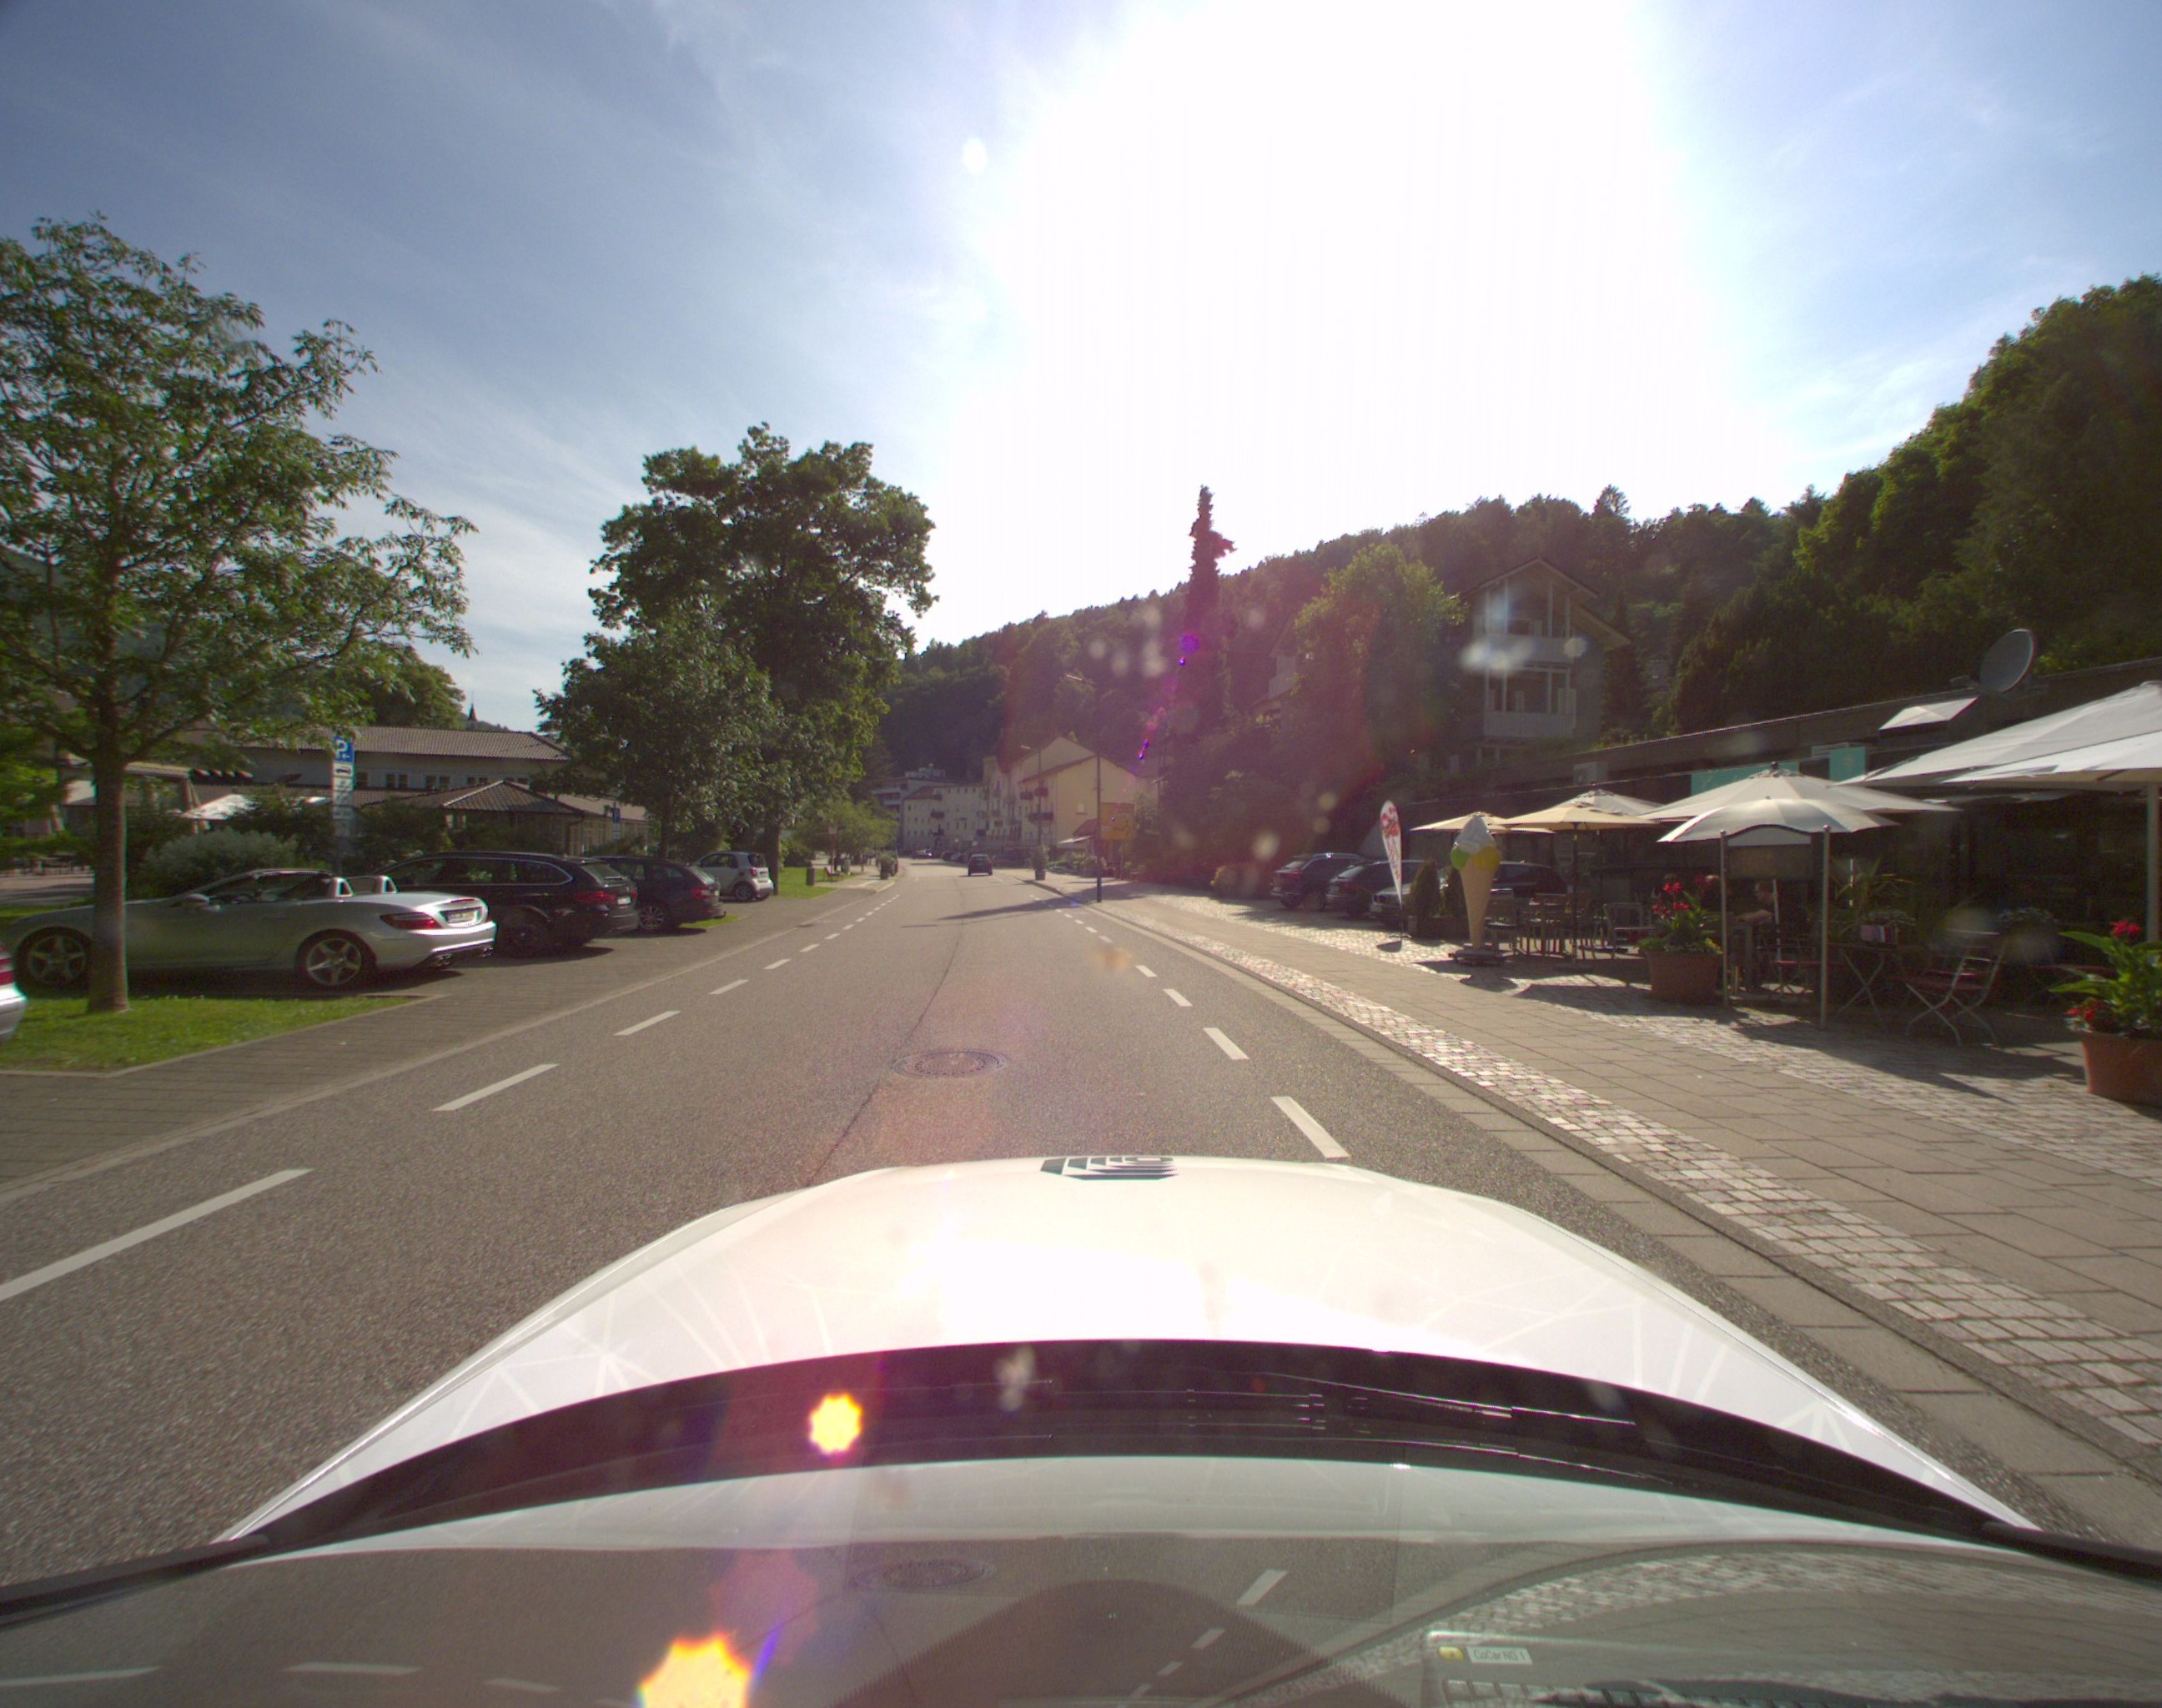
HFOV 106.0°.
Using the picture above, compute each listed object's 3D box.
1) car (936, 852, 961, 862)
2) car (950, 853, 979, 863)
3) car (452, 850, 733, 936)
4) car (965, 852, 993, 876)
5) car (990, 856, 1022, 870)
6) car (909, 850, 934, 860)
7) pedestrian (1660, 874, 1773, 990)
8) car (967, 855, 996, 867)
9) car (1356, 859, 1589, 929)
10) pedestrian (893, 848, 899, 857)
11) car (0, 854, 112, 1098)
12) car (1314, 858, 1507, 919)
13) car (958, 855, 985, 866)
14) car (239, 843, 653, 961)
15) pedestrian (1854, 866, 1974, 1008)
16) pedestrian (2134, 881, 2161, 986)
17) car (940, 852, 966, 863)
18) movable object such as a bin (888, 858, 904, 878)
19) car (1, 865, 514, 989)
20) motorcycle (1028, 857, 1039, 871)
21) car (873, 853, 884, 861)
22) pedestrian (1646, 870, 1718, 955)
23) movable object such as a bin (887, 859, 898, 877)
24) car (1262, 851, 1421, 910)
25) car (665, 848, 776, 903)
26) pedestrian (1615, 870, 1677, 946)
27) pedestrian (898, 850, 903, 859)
[{"bbox_3d":[-23.746,0.550,145.677,4.043,1.516,1.752,-2,3,-39],"label":"car"},{"bbox_3d":[-19.136,0.681,133.874,4.365,1.461,1.763,3,-2,-16],"label":"car"},{"bbox_3d":[-9.233,0.740,15.793,4.281,1.432,1.705,3,-1,-14],"label":"car"},{"bbox_3d":[-7.609,0.710,60.437,1.728,1.574,3.738,2,1,-12],"label":"car"},{"bbox_3d":[-10.063,1.194,109.661,3.873,1.555,1.748,4,-1,-21],"label":"car"},{"bbox_3d":[-28.550,0.167,145.974,4.011,1.662,1.981,-1,1,-29],"label":"car"},{"bbox_3d":[7.362,0.875,9.459,0.811,1.261,0.696,0,0,-17],"label":"pedestrian"},{"bbox_3d":[-14.952,1.064,122.616,3.920,1.589,1.764,4,0,-19],"label":"car"},{"bbox_3d":[8.259,0.808,17.347,4.258,1.379,1.705,0,-1,-7],"label":"car"},{"bbox_3d":[-36.257,-0.309,159.493,0.763,1.594,0.620,2,0,-41],"label":"pedestrian"},{"bbox_3d":[-8.537,0.619,4.183,4.477,1.418,1.806,3,-1,-6],"label":"car"},{"bbox_3d":[8.040,0.803,20.037,4.105,1.415,1.744,0,-1,-7],"label":"car"},{"bbox_3d":[-17.160,1.039,127.609,3.920,1.461,1.725,4,-1,-18],"label":"car"},{"bbox_3d":[-9.104,0.687,12.077,4.492,1.510,1.707,2,0,-9],"label":"car"},{"bbox_3d":[8.721,0.826,8.536,0.704,1.381,0.803,0,0,-38],"label":"pedestrian"},{"bbox_3d":[12.942,0.931,9.414,0.679,1.208,0.704,0,0,24],"label":"pedestrian"},{"bbox_3d":[-21.687,0.591,138.057,4.095,1.666,1.762,4,-1,-18],"label":"car"},{"bbox_3d":[-13.896,1.058,61.222,1.079,1.427,1.371,3,-1,-12],"label":"movable object such as a bin"},{"bbox_3d":[-9.125,0.796,9.400,3.793,1.243,1.757,2,-1,-9],"label":"car"},{"bbox_3d":[-4.414,0.923,75.935,0.697,1.296,2.203,-2,0,-12],"label":"motorcycle"},{"bbox_3d":[-36.132,0.501,145.067,1.743,1.462,4.169,-1,0,-12],"label":"car"},{"bbox_3d":[9.396,0.896,12.758,0.692,1.261,0.816,0,0,18],"label":"pedestrian"},{"bbox_3d":[-14.616,1.060,63.087,0.755,1.341,1.289,3,-1,-11],"label":"movable object such as a bin"},{"bbox_3d":[7.222,0.714,22.740,3.872,1.580,1.744,0,0,-7],"label":"car"},{"bbox_3d":[-11.207,0.661,25.426,2.644,1.547,1.681,2,-1,-3],"label":"car"},{"bbox_3d":[9.857,0.914,14.239,0.692,1.261,0.816,0,0,18],"label":"pedestrian"},{"bbox_3d":[-35.740,0.037,160.838,0.674,1.728,0.699,2,0,-41],"label":"pedestrian"}]
